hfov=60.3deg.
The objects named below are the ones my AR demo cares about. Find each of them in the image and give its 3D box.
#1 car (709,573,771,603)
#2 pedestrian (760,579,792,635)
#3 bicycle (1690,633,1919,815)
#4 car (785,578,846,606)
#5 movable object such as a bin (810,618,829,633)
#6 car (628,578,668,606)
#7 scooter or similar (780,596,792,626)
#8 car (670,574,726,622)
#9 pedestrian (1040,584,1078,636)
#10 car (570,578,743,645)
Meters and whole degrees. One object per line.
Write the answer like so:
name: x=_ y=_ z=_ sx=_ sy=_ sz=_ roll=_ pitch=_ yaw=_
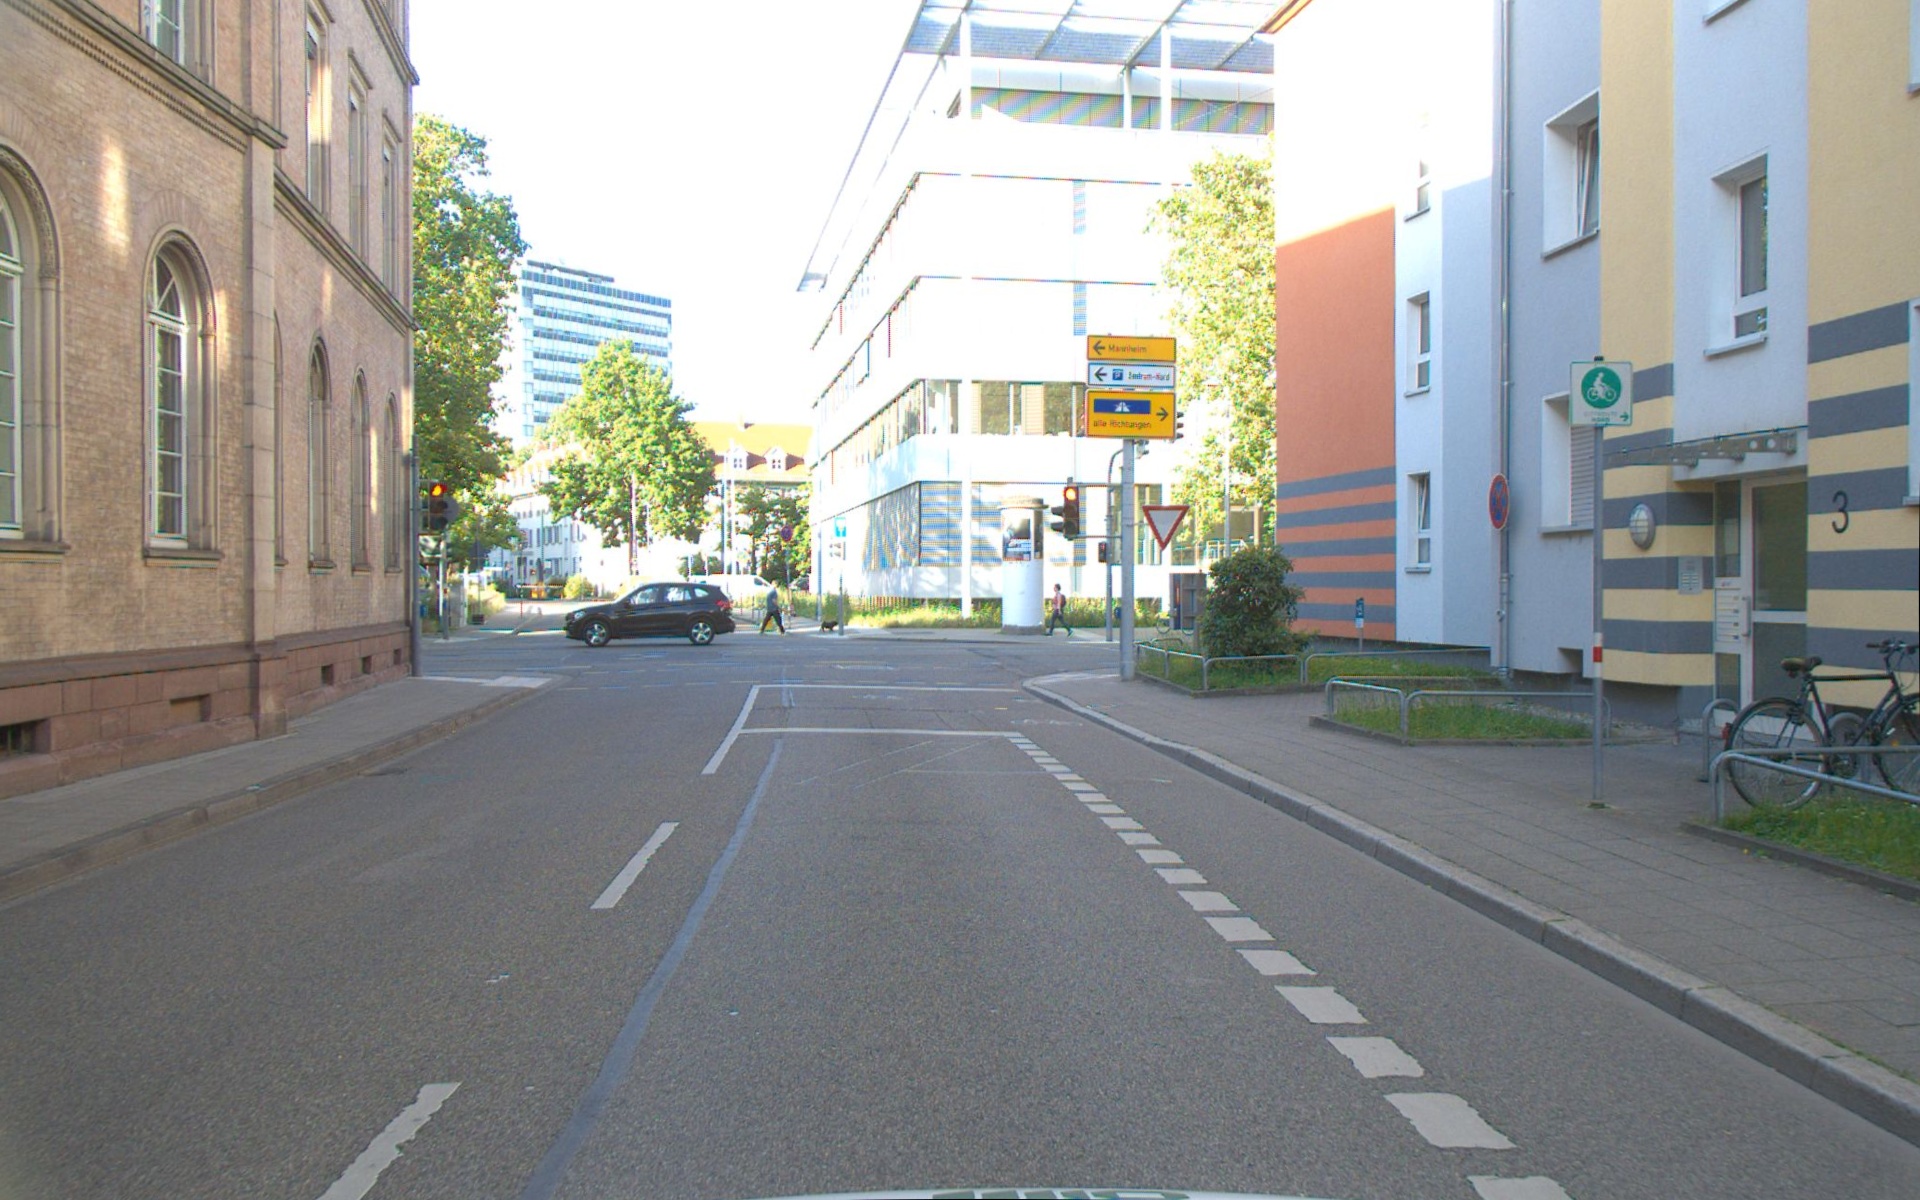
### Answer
car: x=-15.546 y=-0.816 z=116.719 sx=3.932 sy=1.949 sz=1.907 roll=2 pitch=-1 yaw=-23
pedestrian: x=-5.947 y=0.220 z=53.371 sx=0.910 sy=1.790 sz=0.845 roll=1 pitch=0 yaw=-13
bicycle: x=5.618 y=0.759 z=10.451 sx=1.719 sy=1.021 sz=0.613 roll=-2 pitch=0 yaw=-5
car: x=-10.386 y=-0.558 z=118.942 sx=3.932 sy=1.915 sz=1.922 roll=2 pitch=-1 yaw=-23
movable object such as a bin: x=-4.672 y=0.849 z=54.870 sx=0.580 sy=0.489 sz=0.285 roll=0 pitch=0 yaw=-16
car: x=-20.704 y=-0.505 z=109.641 sx=2.290 sy=1.763 sz=4.988 roll=2 pitch=0 yaw=-14
scooter or similar: x=-6.388 y=0.410 z=60.722 sx=0.319 sy=1.078 sz=1.139 roll=0 pitch=0 yaw=-11
car: x=-12.580 y=-0.097 z=79.229 sx=2.381 sy=2.149 sz=5.216 roll=2 pitch=0 yaw=-12
pedestrian: x=3.002 y=0.305 z=50.157 sx=0.910 sy=1.542 sz=0.845 roll=2 pitch=-1 yaw=-13
car: x=-7.813 y=0.268 z=42.657 sx=4.288 sy=1.662 sz=1.994 roll=0 pitch=0 yaw=-12
